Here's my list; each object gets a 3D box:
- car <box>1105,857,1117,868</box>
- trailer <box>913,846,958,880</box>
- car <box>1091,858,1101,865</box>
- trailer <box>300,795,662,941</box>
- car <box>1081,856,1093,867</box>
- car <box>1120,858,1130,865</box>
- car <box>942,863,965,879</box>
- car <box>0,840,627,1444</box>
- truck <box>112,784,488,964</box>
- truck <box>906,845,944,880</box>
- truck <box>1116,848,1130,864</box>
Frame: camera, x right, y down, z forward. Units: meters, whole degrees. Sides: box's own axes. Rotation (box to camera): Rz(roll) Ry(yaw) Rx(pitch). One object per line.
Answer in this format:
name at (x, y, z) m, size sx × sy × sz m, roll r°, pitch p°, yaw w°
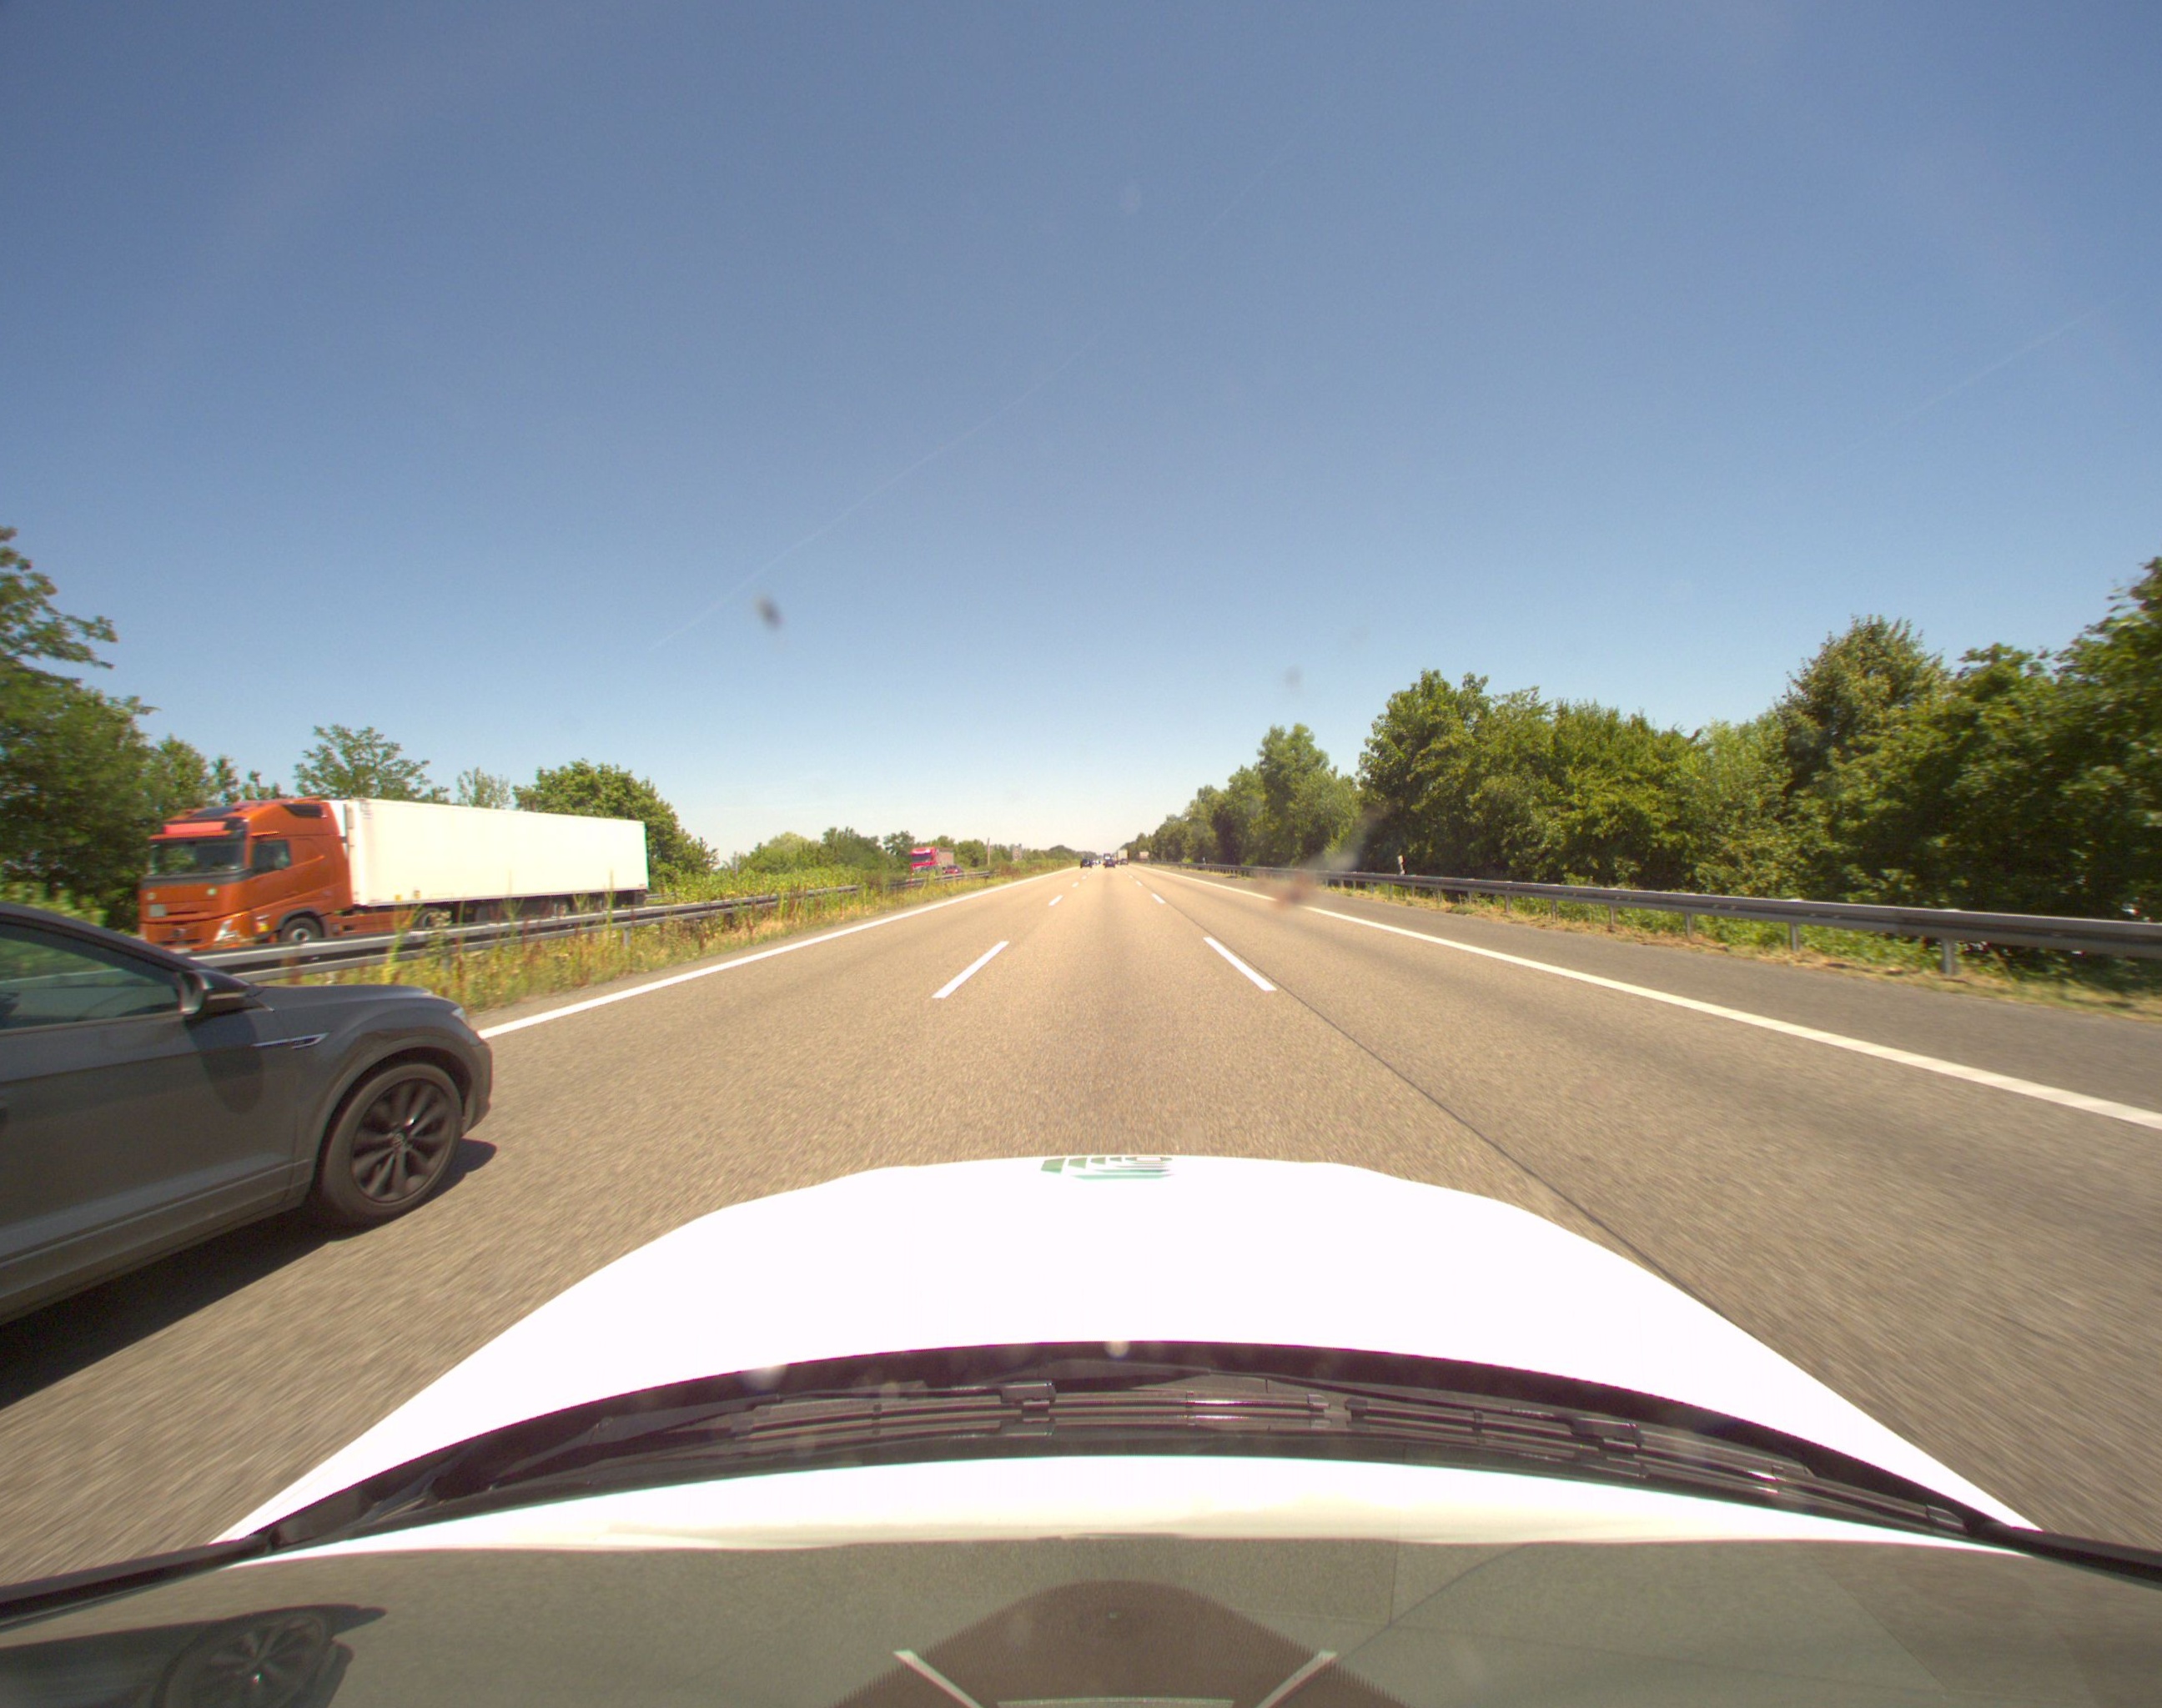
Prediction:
car at (4.805, 1.380, 129.645) m, size 1.895 × 1.584 × 4.306 m, roll -2°, pitch 0°, yaw 2°
trailer at (-17.868, 1.032, 101.079) m, size 3.066 × 3.869 × 10.913 m, roll -2°, pitch 0°, yaw 2°
car at (3.801, 1.879, 205.787) m, size 2.120 × 1.645 × 4.306 m, roll -2°, pitch 0°, yaw 2°
trailer at (-20.244, 0.422, 29.431) m, size 2.722 × 3.935 × 13.071 m, roll -4°, pitch 0°, yaw 2°
car at (1.022, 1.210, 138.232) m, size 1.874 × 1.792 × 4.001 m, roll -2°, pitch 1°, yaw 1°
car at (10.208, 1.732, 189.441) m, size 2.120 × 1.584 × 4.306 m, roll -2°, pitch 0°, yaw 2°
car at (-14.222, 1.872, 91.174) m, size 1.647 × 1.645 × 4.336 m, roll -2°, pitch 0°, yaw 2°
car at (-3.887, 0.802, 2.682) m, size 1.874 × 1.640 × 5.009 m, roll -2°, pitch 1°, yaw 1°
truck at (-20.518, 0.474, 22.269) m, size 2.722 × 3.935 × 7.419 m, roll -4°, pitch 0°, yaw 2°
truck at (-18.154, 1.005, 95.193) m, size 3.066 × 3.869 × 5.594 m, roll -2°, pitch 0°, yaw 2°
truck at (11.368, 0.499, 220.576) m, size 3.372 × 3.970 × 9.542 m, roll -2°, pitch 0°, yaw 2°
